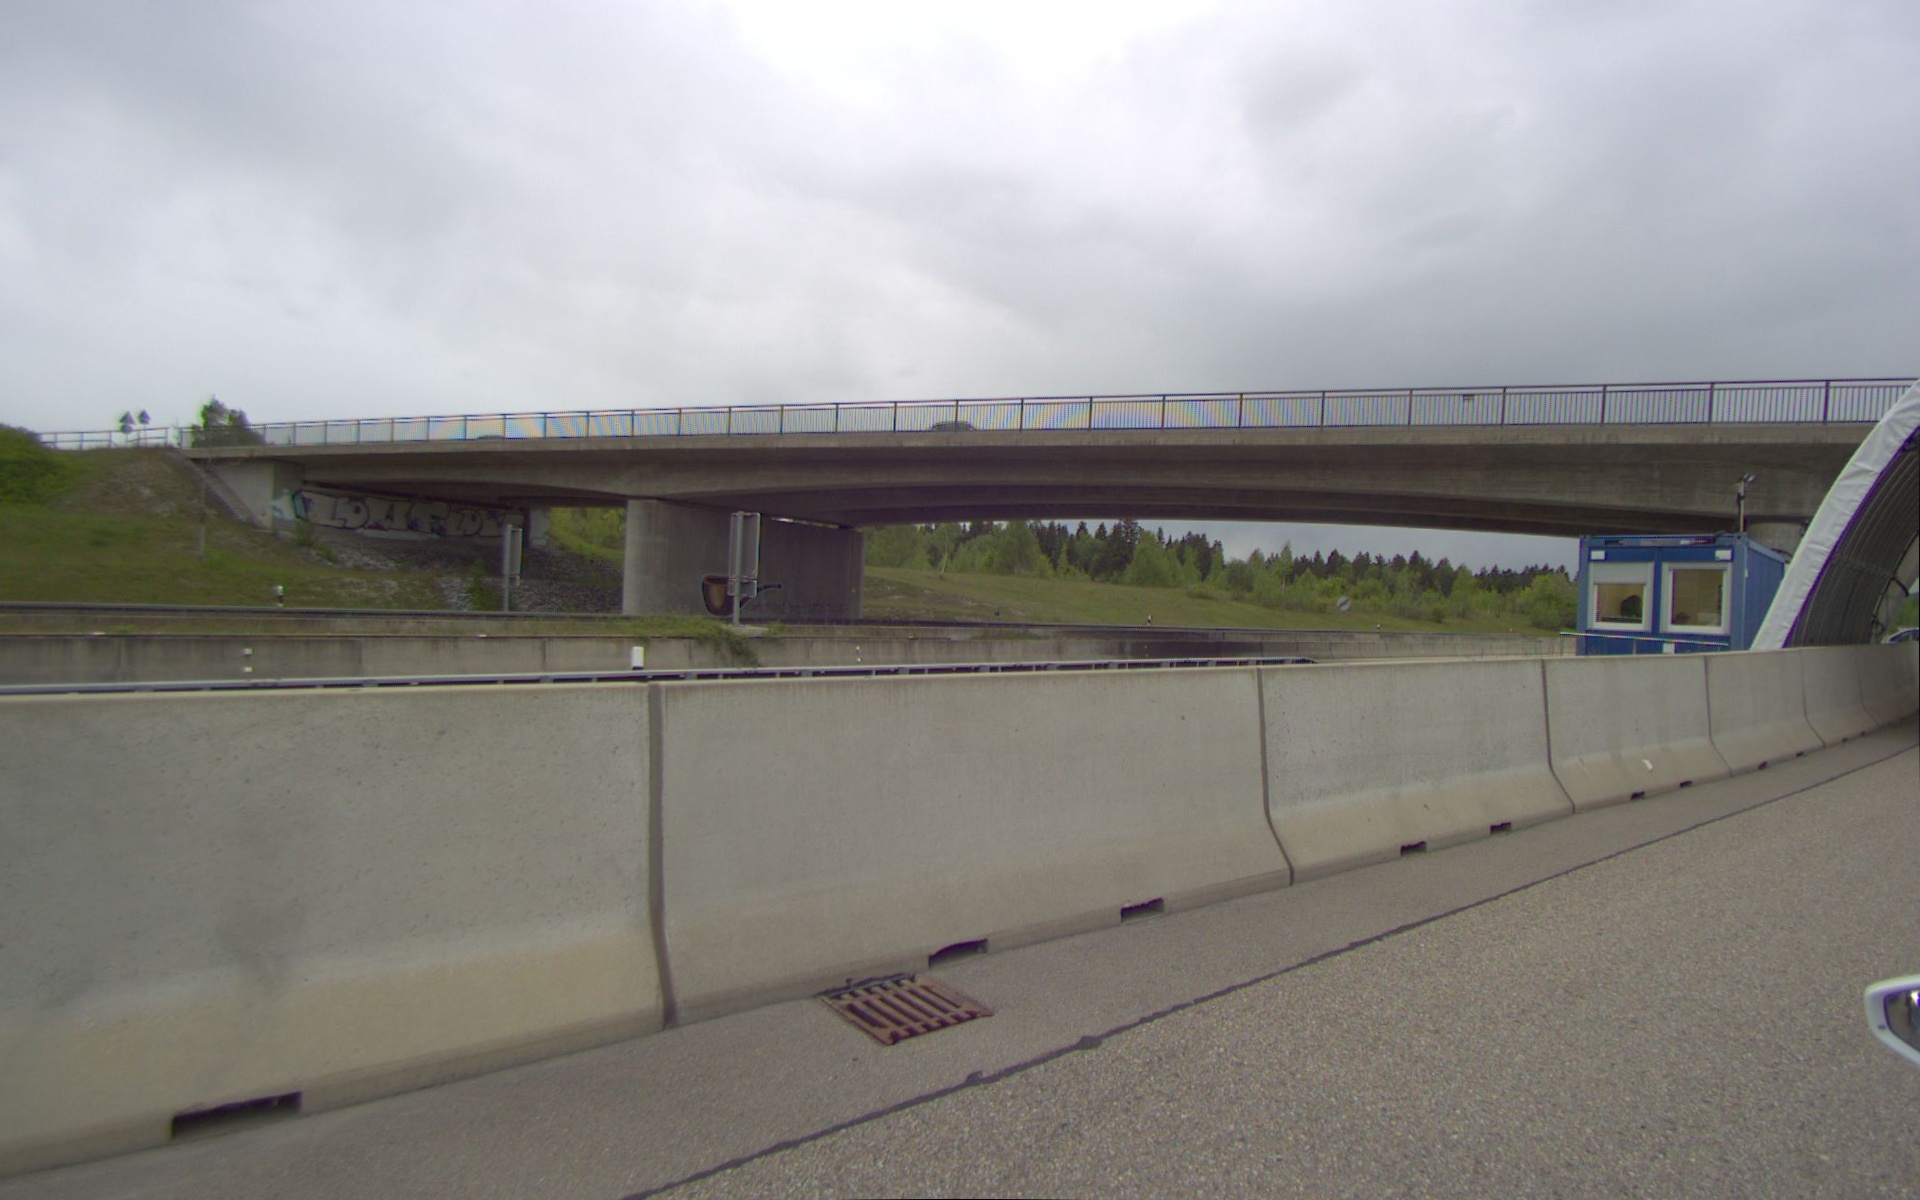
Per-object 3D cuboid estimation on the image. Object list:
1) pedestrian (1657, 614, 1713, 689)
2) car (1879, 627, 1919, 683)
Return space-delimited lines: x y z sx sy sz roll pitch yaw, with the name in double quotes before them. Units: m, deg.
"pedestrian" 13.641 0.959 18.908 0.618 1.391 0.609 2 -1 -21
"car" 36.712 2.061 36.333 1.814 2.040 4.797 2 -1 -22
